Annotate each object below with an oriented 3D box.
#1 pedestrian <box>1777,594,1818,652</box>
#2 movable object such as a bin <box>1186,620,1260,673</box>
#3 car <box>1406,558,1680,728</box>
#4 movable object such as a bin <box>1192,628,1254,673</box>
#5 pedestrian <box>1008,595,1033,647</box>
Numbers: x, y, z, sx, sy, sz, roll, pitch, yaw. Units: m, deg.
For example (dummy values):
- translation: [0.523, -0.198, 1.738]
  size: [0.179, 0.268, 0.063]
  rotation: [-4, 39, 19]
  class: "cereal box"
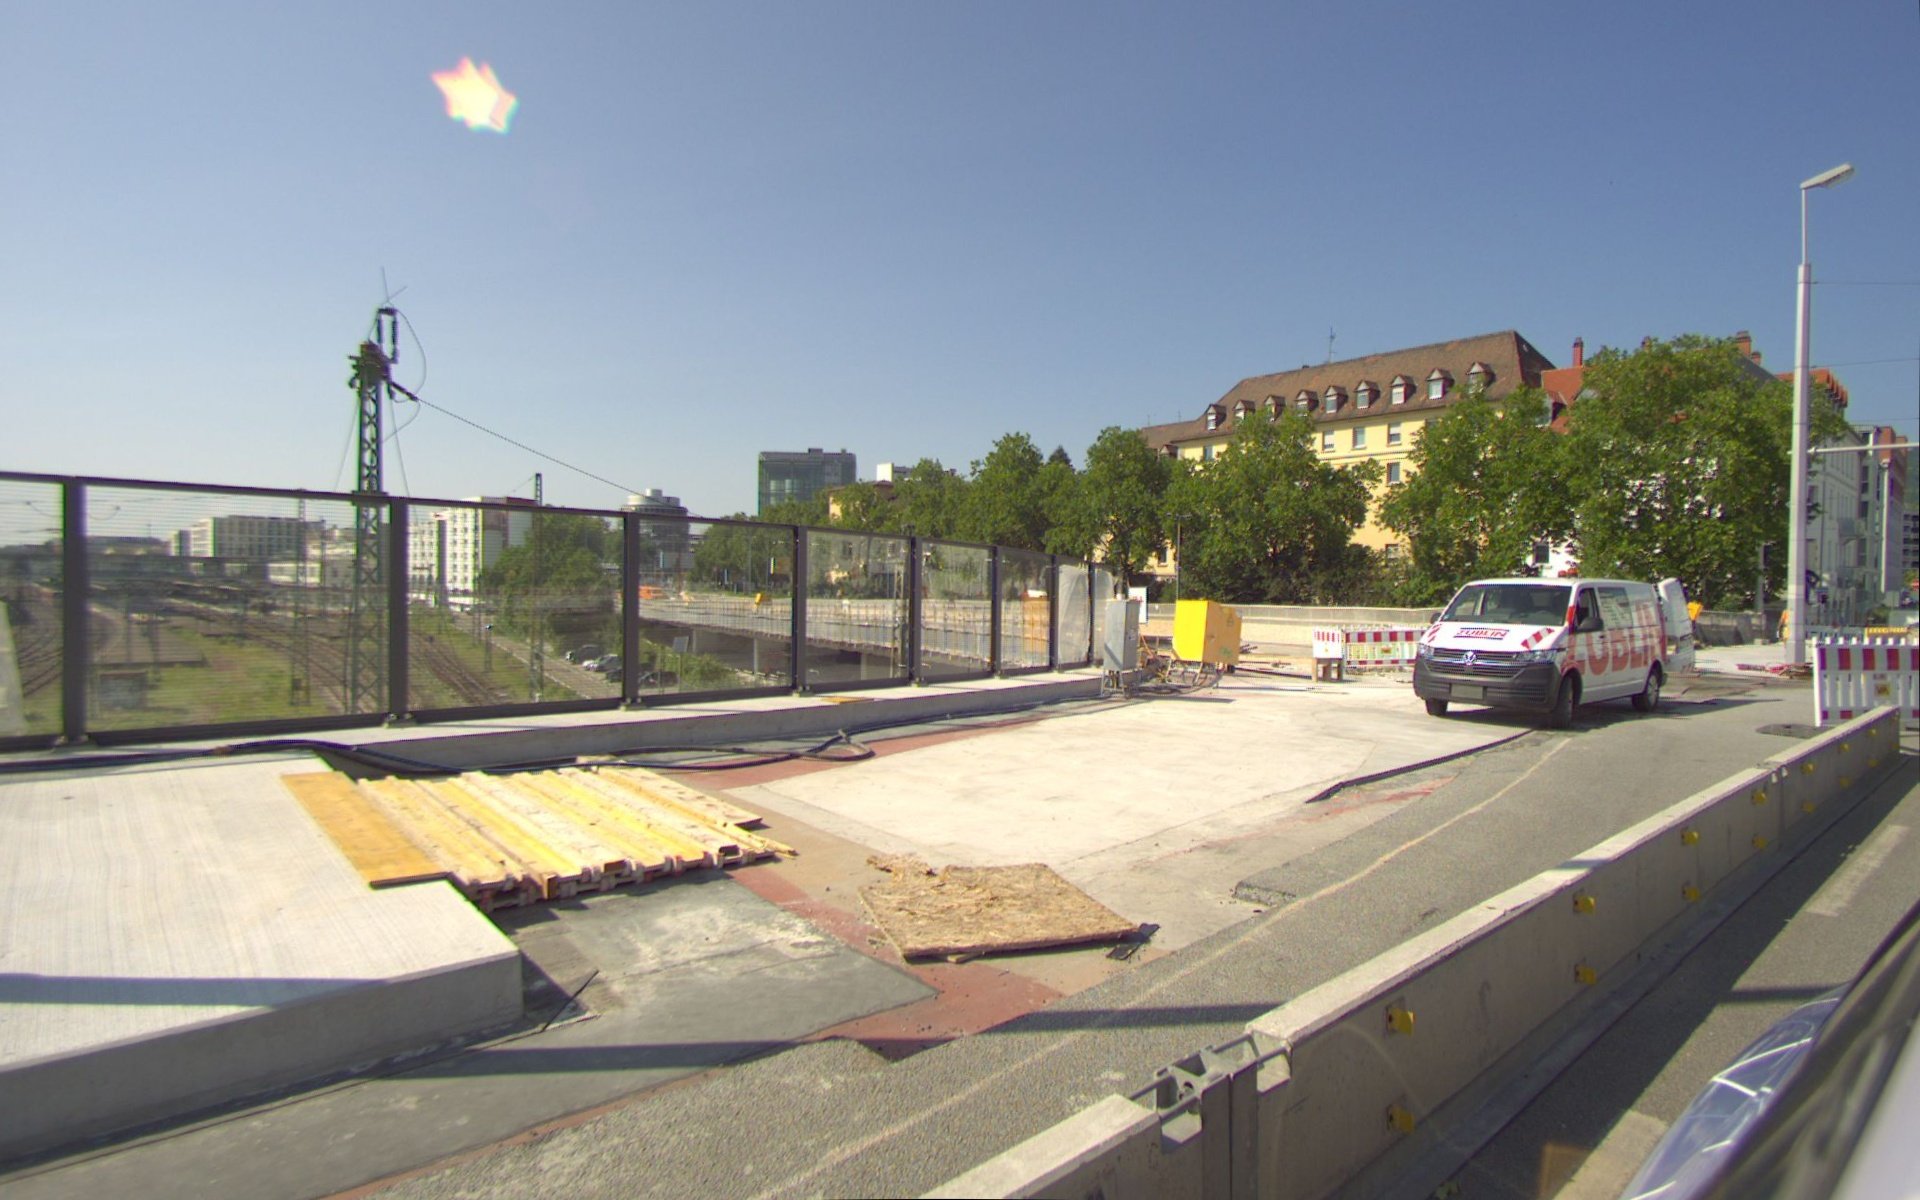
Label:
- translation: [27.241, 0.735, 32.921]
  size: [0.849, 1.817, 0.821]
  rotation: [1, 2, -42]
  class: "pedestrian"
- translation: [6.052, 1.084, 23.410]
  size: [0.595, 1.144, 2.045]
  rotation: [-2, -2, -18]
  class: "movable object such as a bin"
- translation: [8.502, 0.528, 14.555]
  size: [4.803, 2.059, 1.882]
  rotation: [0, 0, -40]
  class: "car"
- translation: [5.690, 1.087, 21.934]
  size: [1.083, 0.853, 0.757]
  rotation: [4, 0, -1]
  class: "movable object such as a bin"
- translation: [2.837, 0.972, 47.192]
  size: [0.867, 2.364, 0.792]
  rotation: [-3, -4, 24]
  class: "pedestrian"
